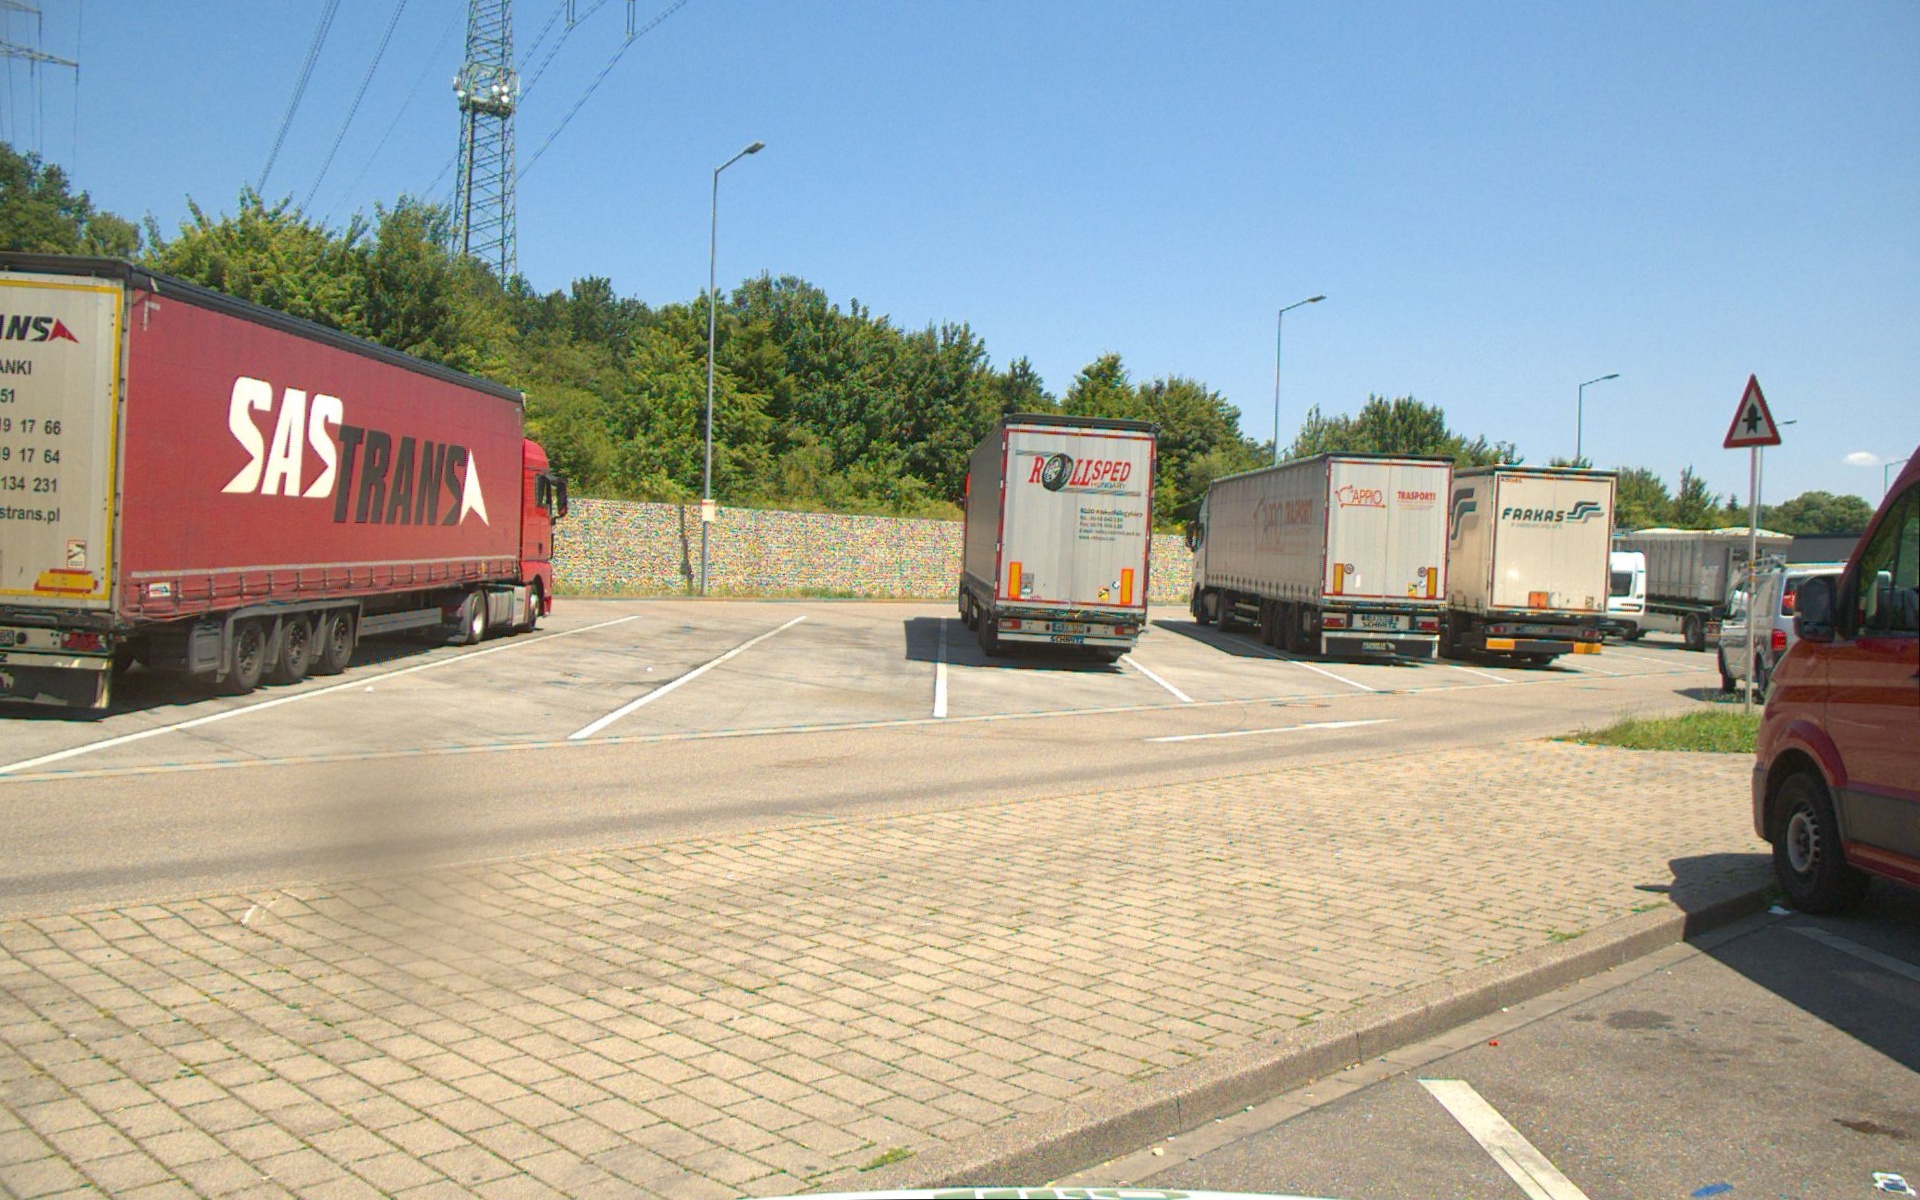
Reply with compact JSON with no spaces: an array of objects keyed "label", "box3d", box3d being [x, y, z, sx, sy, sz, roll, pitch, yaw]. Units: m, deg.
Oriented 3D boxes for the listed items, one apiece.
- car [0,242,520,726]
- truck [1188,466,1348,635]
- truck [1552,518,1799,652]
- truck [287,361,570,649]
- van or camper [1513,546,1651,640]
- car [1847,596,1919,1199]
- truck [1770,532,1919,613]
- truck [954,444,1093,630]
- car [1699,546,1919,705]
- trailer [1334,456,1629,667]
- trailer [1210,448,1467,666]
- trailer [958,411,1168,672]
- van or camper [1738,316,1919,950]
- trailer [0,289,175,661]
[{"label":"car","box3d":[-8.680,-1.278,20.963,2.641,4.184,12.935,2,2,0]},{"label":"truck","box3d":[8.162,-1.384,44.738,2.808,4.107,6.956,2,2,-1]},{"label":"truck","box3d":[21.743,-0.650,51.247,2.437,3.630,11.423,2,2,-1]},{"label":"truck","box3d":[-8.702,-1.527,27.880,2.641,4.184,6.239,2,2,0]},{"label":"van or camper","box3d":[18.277,-0.251,48.920,2.061,2.606,5.372,1,1,0]},{"label":"car","box3d":[2.537,0.796,1.115,1.584,1.509,3.762,1,1,-6]},{"label":"truck","box3d":[34.697,-1.070,63.640,2.082,2.869,9.777,1,1,-1]},{"label":"truck","box3d":[1.419,-1.565,40.753,2.809,4.107,7.026,2,2,-2]},{"label":"car","box3d":[13.083,0.312,25.697,1.951,2.187,5.317,1,1,14]},{"label":"trailer","box3d":[11.818,-1.024,39.225,2.808,4.107,12.438,2,2,-1]},{"label":"trailer","box3d":[8.241,-1.089,38.108,2.808,4.107,12.438,2,2,-1]},{"label":"trailer","box3d":[1.650,-1.238,33.672,2.809,4.107,14.238,2,2,-2]},{"label":"van or camper","box3d":[4.986,0.174,5.562,1.954,2.700,6.482,1,1,3]},{"label":"trailer","box3d":[-12.550,-1.403,17.164,2.756,4.341,12.940,2,2,-1]}]
